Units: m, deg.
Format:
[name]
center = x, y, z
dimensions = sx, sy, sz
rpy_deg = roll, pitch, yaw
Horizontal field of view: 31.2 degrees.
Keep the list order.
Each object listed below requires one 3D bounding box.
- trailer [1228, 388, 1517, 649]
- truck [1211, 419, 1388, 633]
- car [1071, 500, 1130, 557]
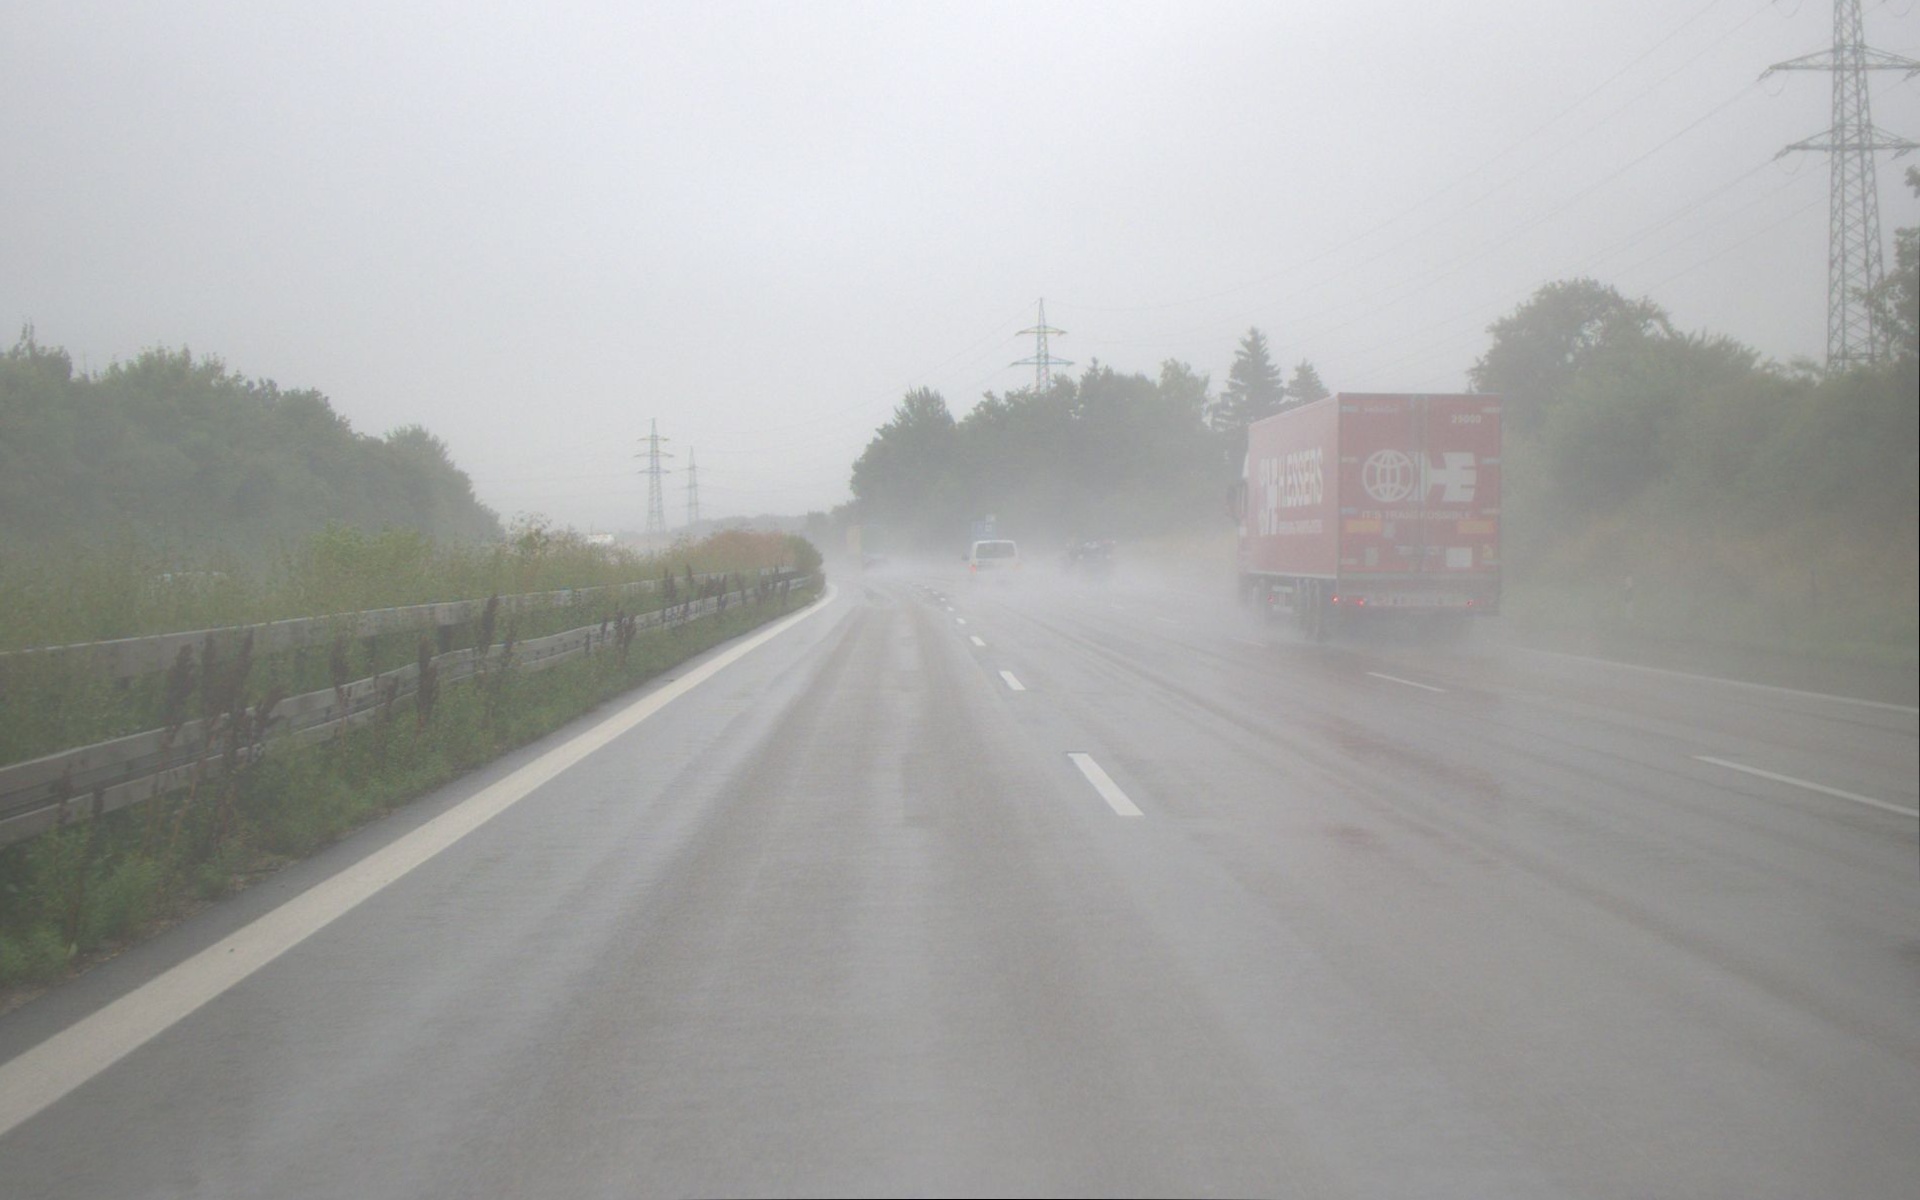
[trailer]
center = 6.986, -1.359, 60.512
dimensions = 2.620, 3.941, 13.632
rpy_deg = -3, 1, -3
[truck]
center = 6.659, -1.447, 68.090
dimensions = 2.620, 3.941, 5.433
rpy_deg = -3, 1, -2
[car]
center = 5.541, -2.834, 136.377
dimensions = 1.807, 2.151, 4.001
rpy_deg = -3, 1, -4
